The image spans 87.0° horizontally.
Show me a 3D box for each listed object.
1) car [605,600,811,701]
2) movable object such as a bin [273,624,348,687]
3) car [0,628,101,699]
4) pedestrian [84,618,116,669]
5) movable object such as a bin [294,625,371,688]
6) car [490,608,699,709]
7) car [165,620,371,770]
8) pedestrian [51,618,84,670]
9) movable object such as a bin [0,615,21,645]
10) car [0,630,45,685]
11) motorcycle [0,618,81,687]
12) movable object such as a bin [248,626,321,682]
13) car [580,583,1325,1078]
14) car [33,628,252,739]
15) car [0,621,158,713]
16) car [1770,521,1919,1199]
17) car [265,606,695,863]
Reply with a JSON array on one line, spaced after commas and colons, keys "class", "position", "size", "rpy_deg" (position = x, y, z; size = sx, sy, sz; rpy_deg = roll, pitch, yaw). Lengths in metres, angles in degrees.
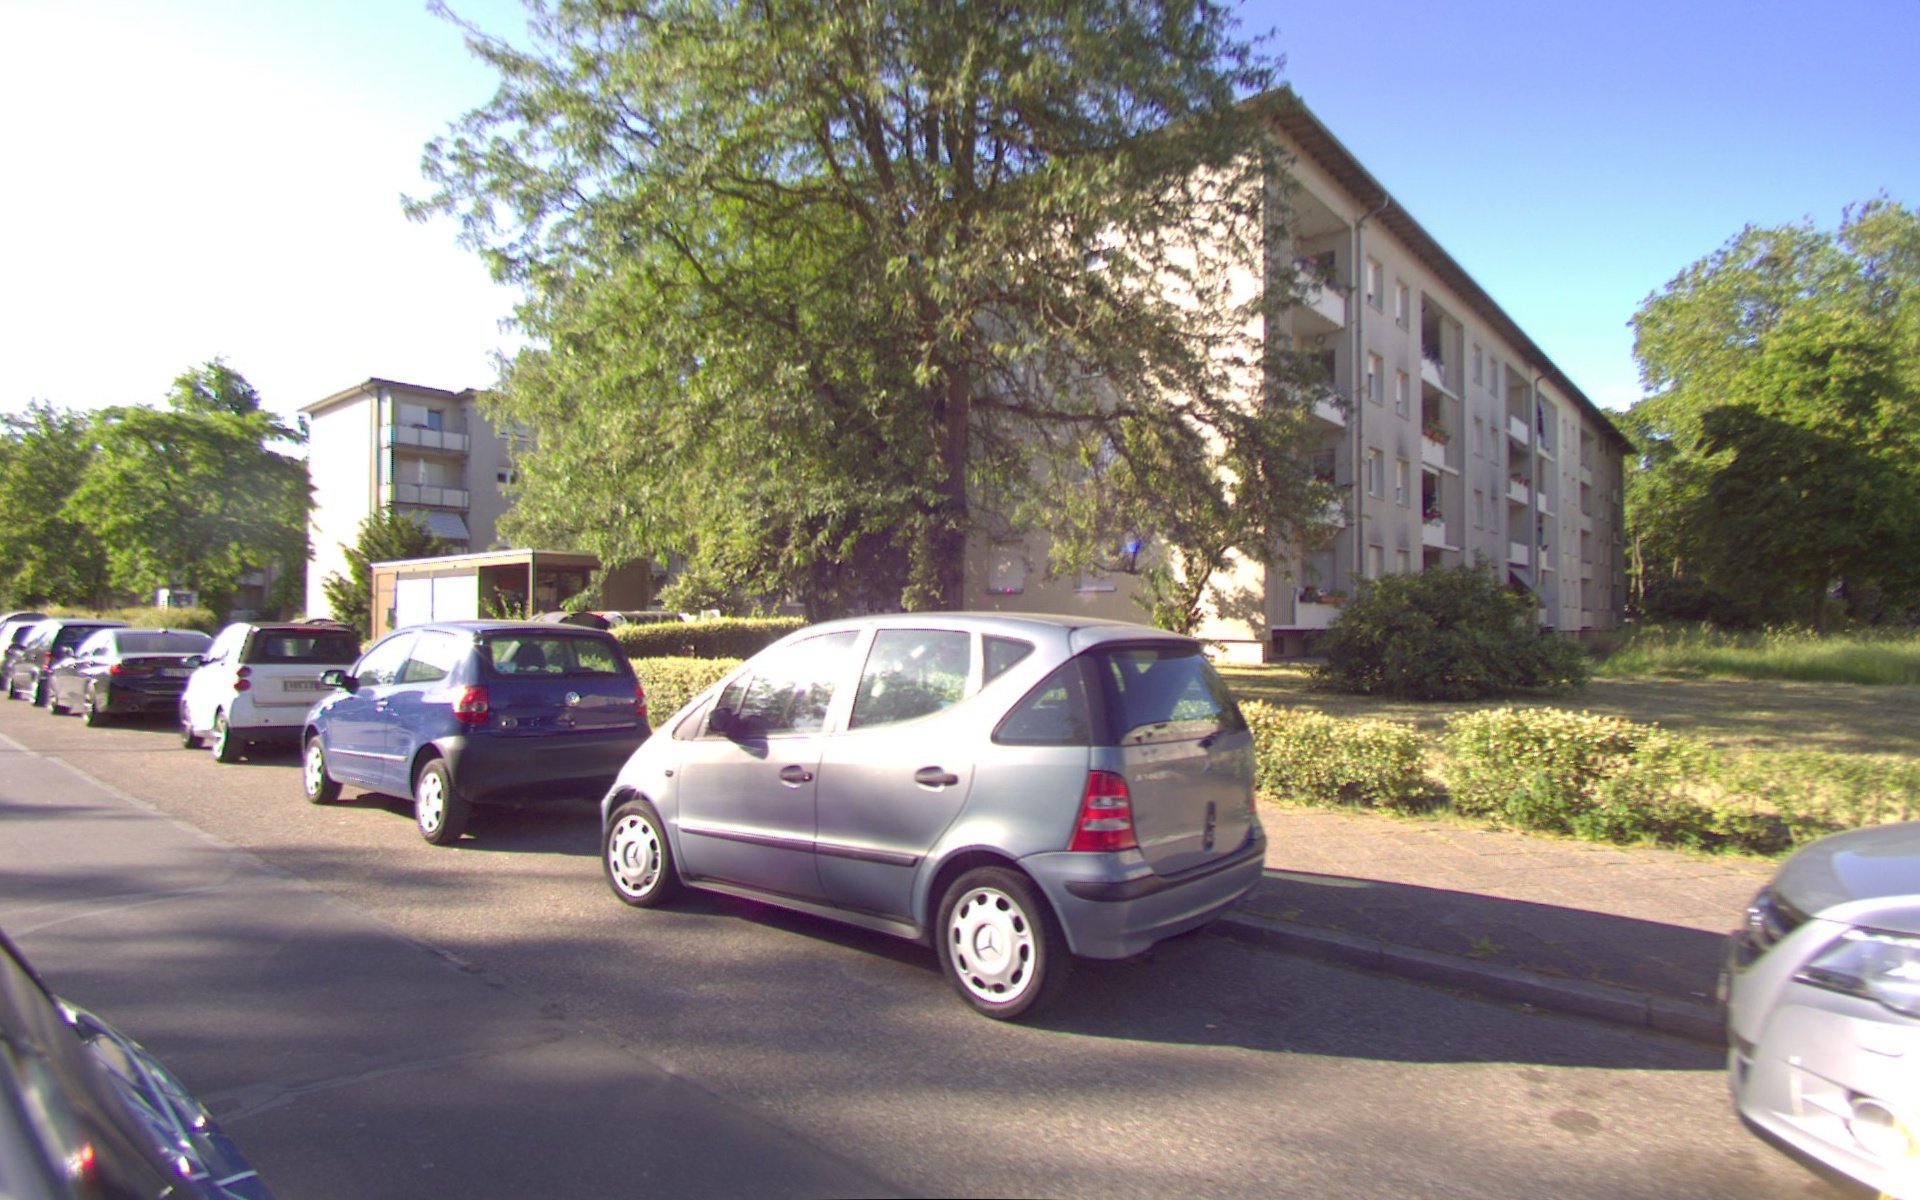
[{"class": "car", "position": [-4.654, 0.862, 18.430], "size": [3.995, 1.653, 1.555], "rpy_deg": [-1, -1, 39]}, {"class": "movable object such as a bin", "position": [-15.262, 1.276, 23.793], "size": [1.342, 1.419, 1.165], "rpy_deg": [-2, -1, 41]}, {"class": "car", "position": [-21.222, 1.410, 23.230], "size": [3.958, 1.492, 1.735], "rpy_deg": [-1, -4, 42]}, {"class": "pedestrian", "position": [-28.736, 1.443, 33.808], "size": [0.599, 1.692, 0.713], "rpy_deg": [-1, -2, 40]}, {"class": "movable object such as a bin", "position": [-14.223, 1.256, 22.944], "size": [1.343, 1.350, 1.165], "rpy_deg": [-2, -1, 42]}, {"class": "car", "position": [-6.379, 0.938, 17.485], "size": [3.995, 1.537, 1.555], "rpy_deg": [-1, -1, 39]}, {"class": "car", "position": [-8.509, 1.079, 12.362], "size": [3.143, 1.586, 1.428], "rpy_deg": [-2, -4, 44]}, {"class": "pedestrian", "position": [-29.262, 1.429, 33.177], "size": [0.616, 1.692, 0.713], "rpy_deg": [-1, -2, 40]}, {"class": "movable object such as a bin", "position": [-46.978, 1.491, 49.735], "size": [1.325, 1.425, 0.992], "rpy_deg": [-1, 1, 39]}, {"class": "car", "position": [-26.628, 1.530, 27.716], "size": [4.266, 1.432, 1.736], "rpy_deg": [-1, -4, 40]}, {"class": "motorcycle", "position": [-24.228, 1.349, 26.026], "size": [0.931, 1.740, 2.235], "rpy_deg": [-1, -4, 37]}, {"class": "movable object such as a bin", "position": [-16.437, 1.291, 24.633], "size": [1.342, 1.297, 1.165], "rpy_deg": [-1, -1, 41]}, {"class": "car", "position": [-0.212, 0.810, 5.094], "size": [3.531, 1.618, 1.619], "rpy_deg": [-1, -3, 39]}, {"class": "car", "position": [-12.897, 1.222, 15.870], "size": [4.533, 1.492, 1.737], "rpy_deg": [-1, -4, 39]}, {"class": "car", "position": [-16.972, 1.237, 19.354], "size": [3.716, 1.586, 1.737], "rpy_deg": [-1, -4, 39]}, {"class": "car", "position": [3.864, 0.678, 1.303], "size": [4.346, 1.652, 1.883], "rpy_deg": [-1, -3, 40]}, {"class": "car", "position": [-4.108, 0.929, 8.390], "size": [3.966, 1.618, 1.736], "rpy_deg": [-1, -4, 41]}]
